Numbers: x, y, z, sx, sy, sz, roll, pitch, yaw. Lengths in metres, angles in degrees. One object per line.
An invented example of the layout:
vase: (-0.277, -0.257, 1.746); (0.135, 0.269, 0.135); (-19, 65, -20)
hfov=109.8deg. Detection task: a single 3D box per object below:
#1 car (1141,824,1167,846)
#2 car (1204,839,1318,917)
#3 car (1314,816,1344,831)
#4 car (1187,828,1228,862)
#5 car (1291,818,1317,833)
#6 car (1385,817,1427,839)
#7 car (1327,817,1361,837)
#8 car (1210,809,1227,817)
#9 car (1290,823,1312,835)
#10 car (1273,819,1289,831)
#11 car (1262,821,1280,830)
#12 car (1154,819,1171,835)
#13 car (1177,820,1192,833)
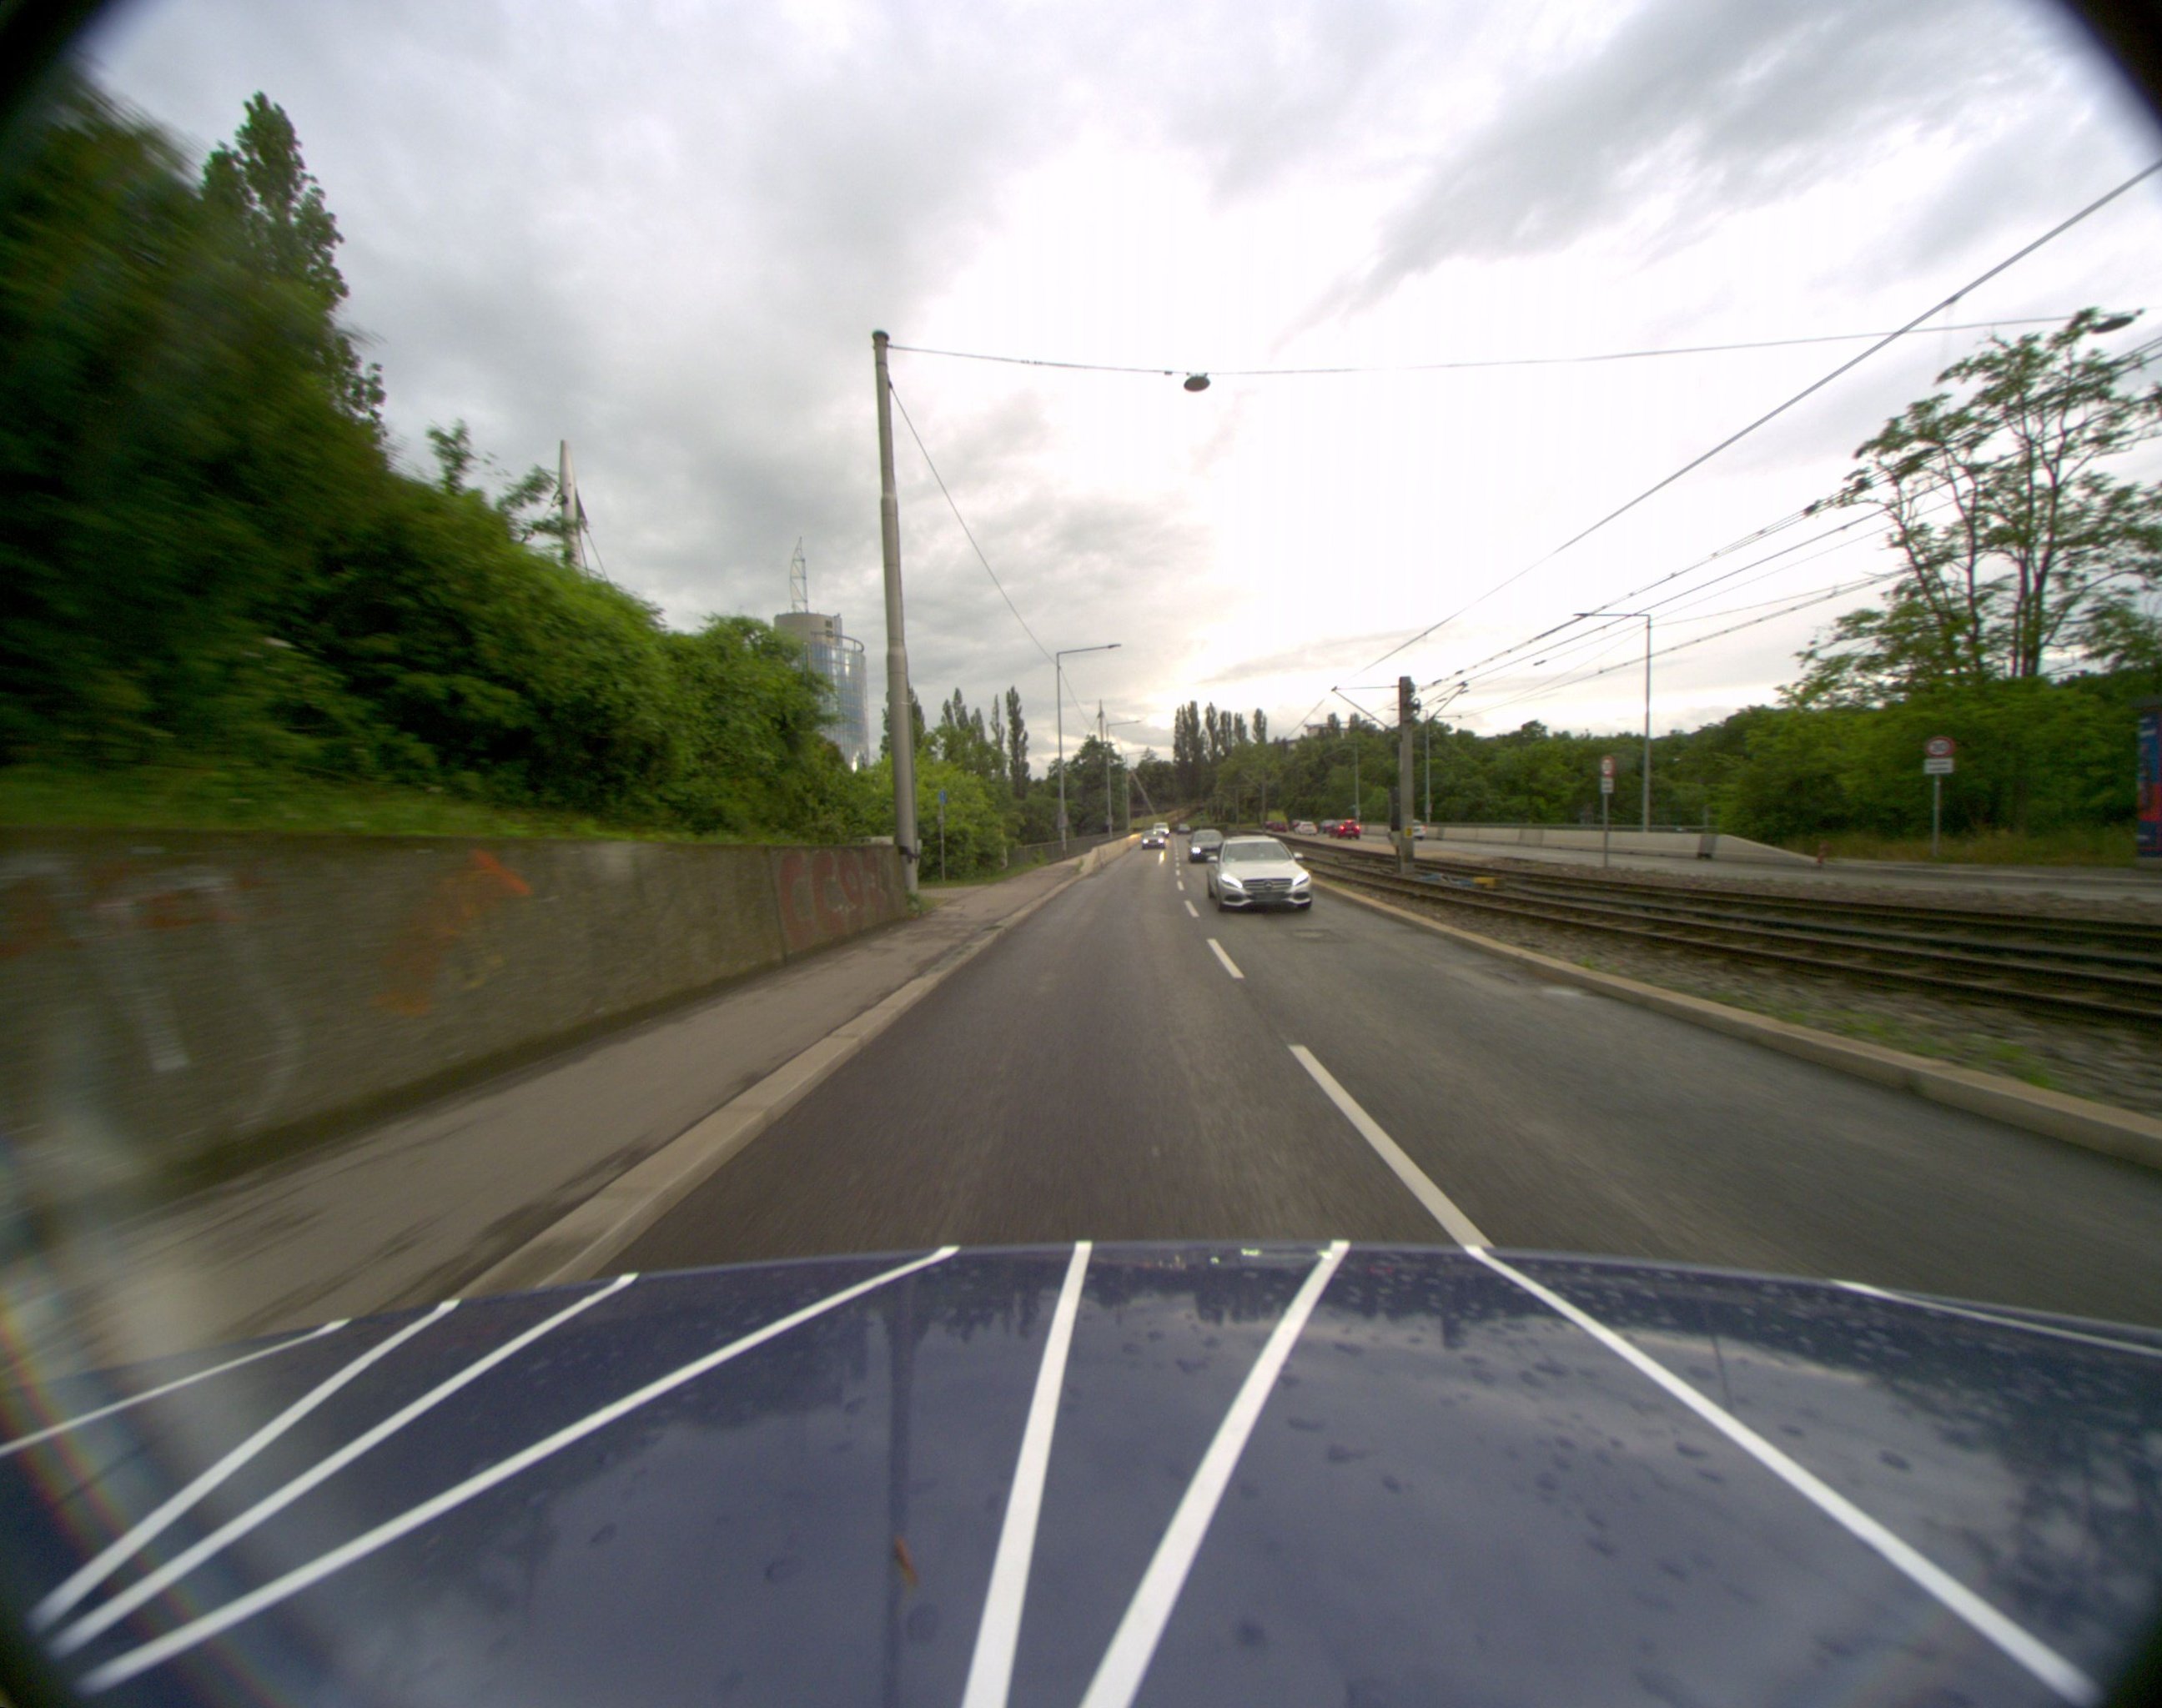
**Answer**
car: (5.433, -1.443, 57.043); (1.767, 1.493, 3.999); (-2, 3, 4)
car: (3.726, 0.417, 16.398); (1.871, 1.348, 4.061); (-3, 2, 7)
car: (27.831, -3.442, 85.336); (1.973, 1.588, 5.184); (-1, 2, 4)
car: (5.844, -0.450, 35.527); (1.735, 1.345, 4.000); (-2, 3, 8)
car: (23.803, -3.039, 81.219); (1.734, 1.429, 4.490); (-1, 4, 4)
car: (24.520, -1.993, 57.485); (1.824, 1.507, 4.530); (-1, 3, 9)
car: (22.084, -2.255, 63.991); (1.851, 1.588, 4.733); (-1, 2, 8)
car: (29.241, -8.676, 161.670); (1.843, 1.307, 4.613); (-5, 2, -11)
car: (30.536, -3.461, 105.636); (1.900, 1.588, 4.731); (-1, 2, 4)
car: (26.584, -3.874, 101.039); (1.604, 1.485, 3.016); (-1, 4, 4)
car: (31.352, -4.716, 125.272); (1.821, 1.428, 4.739); (-2, 2, 1)
car: (10.055, -3.319, 93.884); (1.767, 1.807, 3.999); (-3, 3, 3)
car: (15.082, -3.955, 110.471); (1.767, 1.806, 3.999); (-3, 2, 3)
